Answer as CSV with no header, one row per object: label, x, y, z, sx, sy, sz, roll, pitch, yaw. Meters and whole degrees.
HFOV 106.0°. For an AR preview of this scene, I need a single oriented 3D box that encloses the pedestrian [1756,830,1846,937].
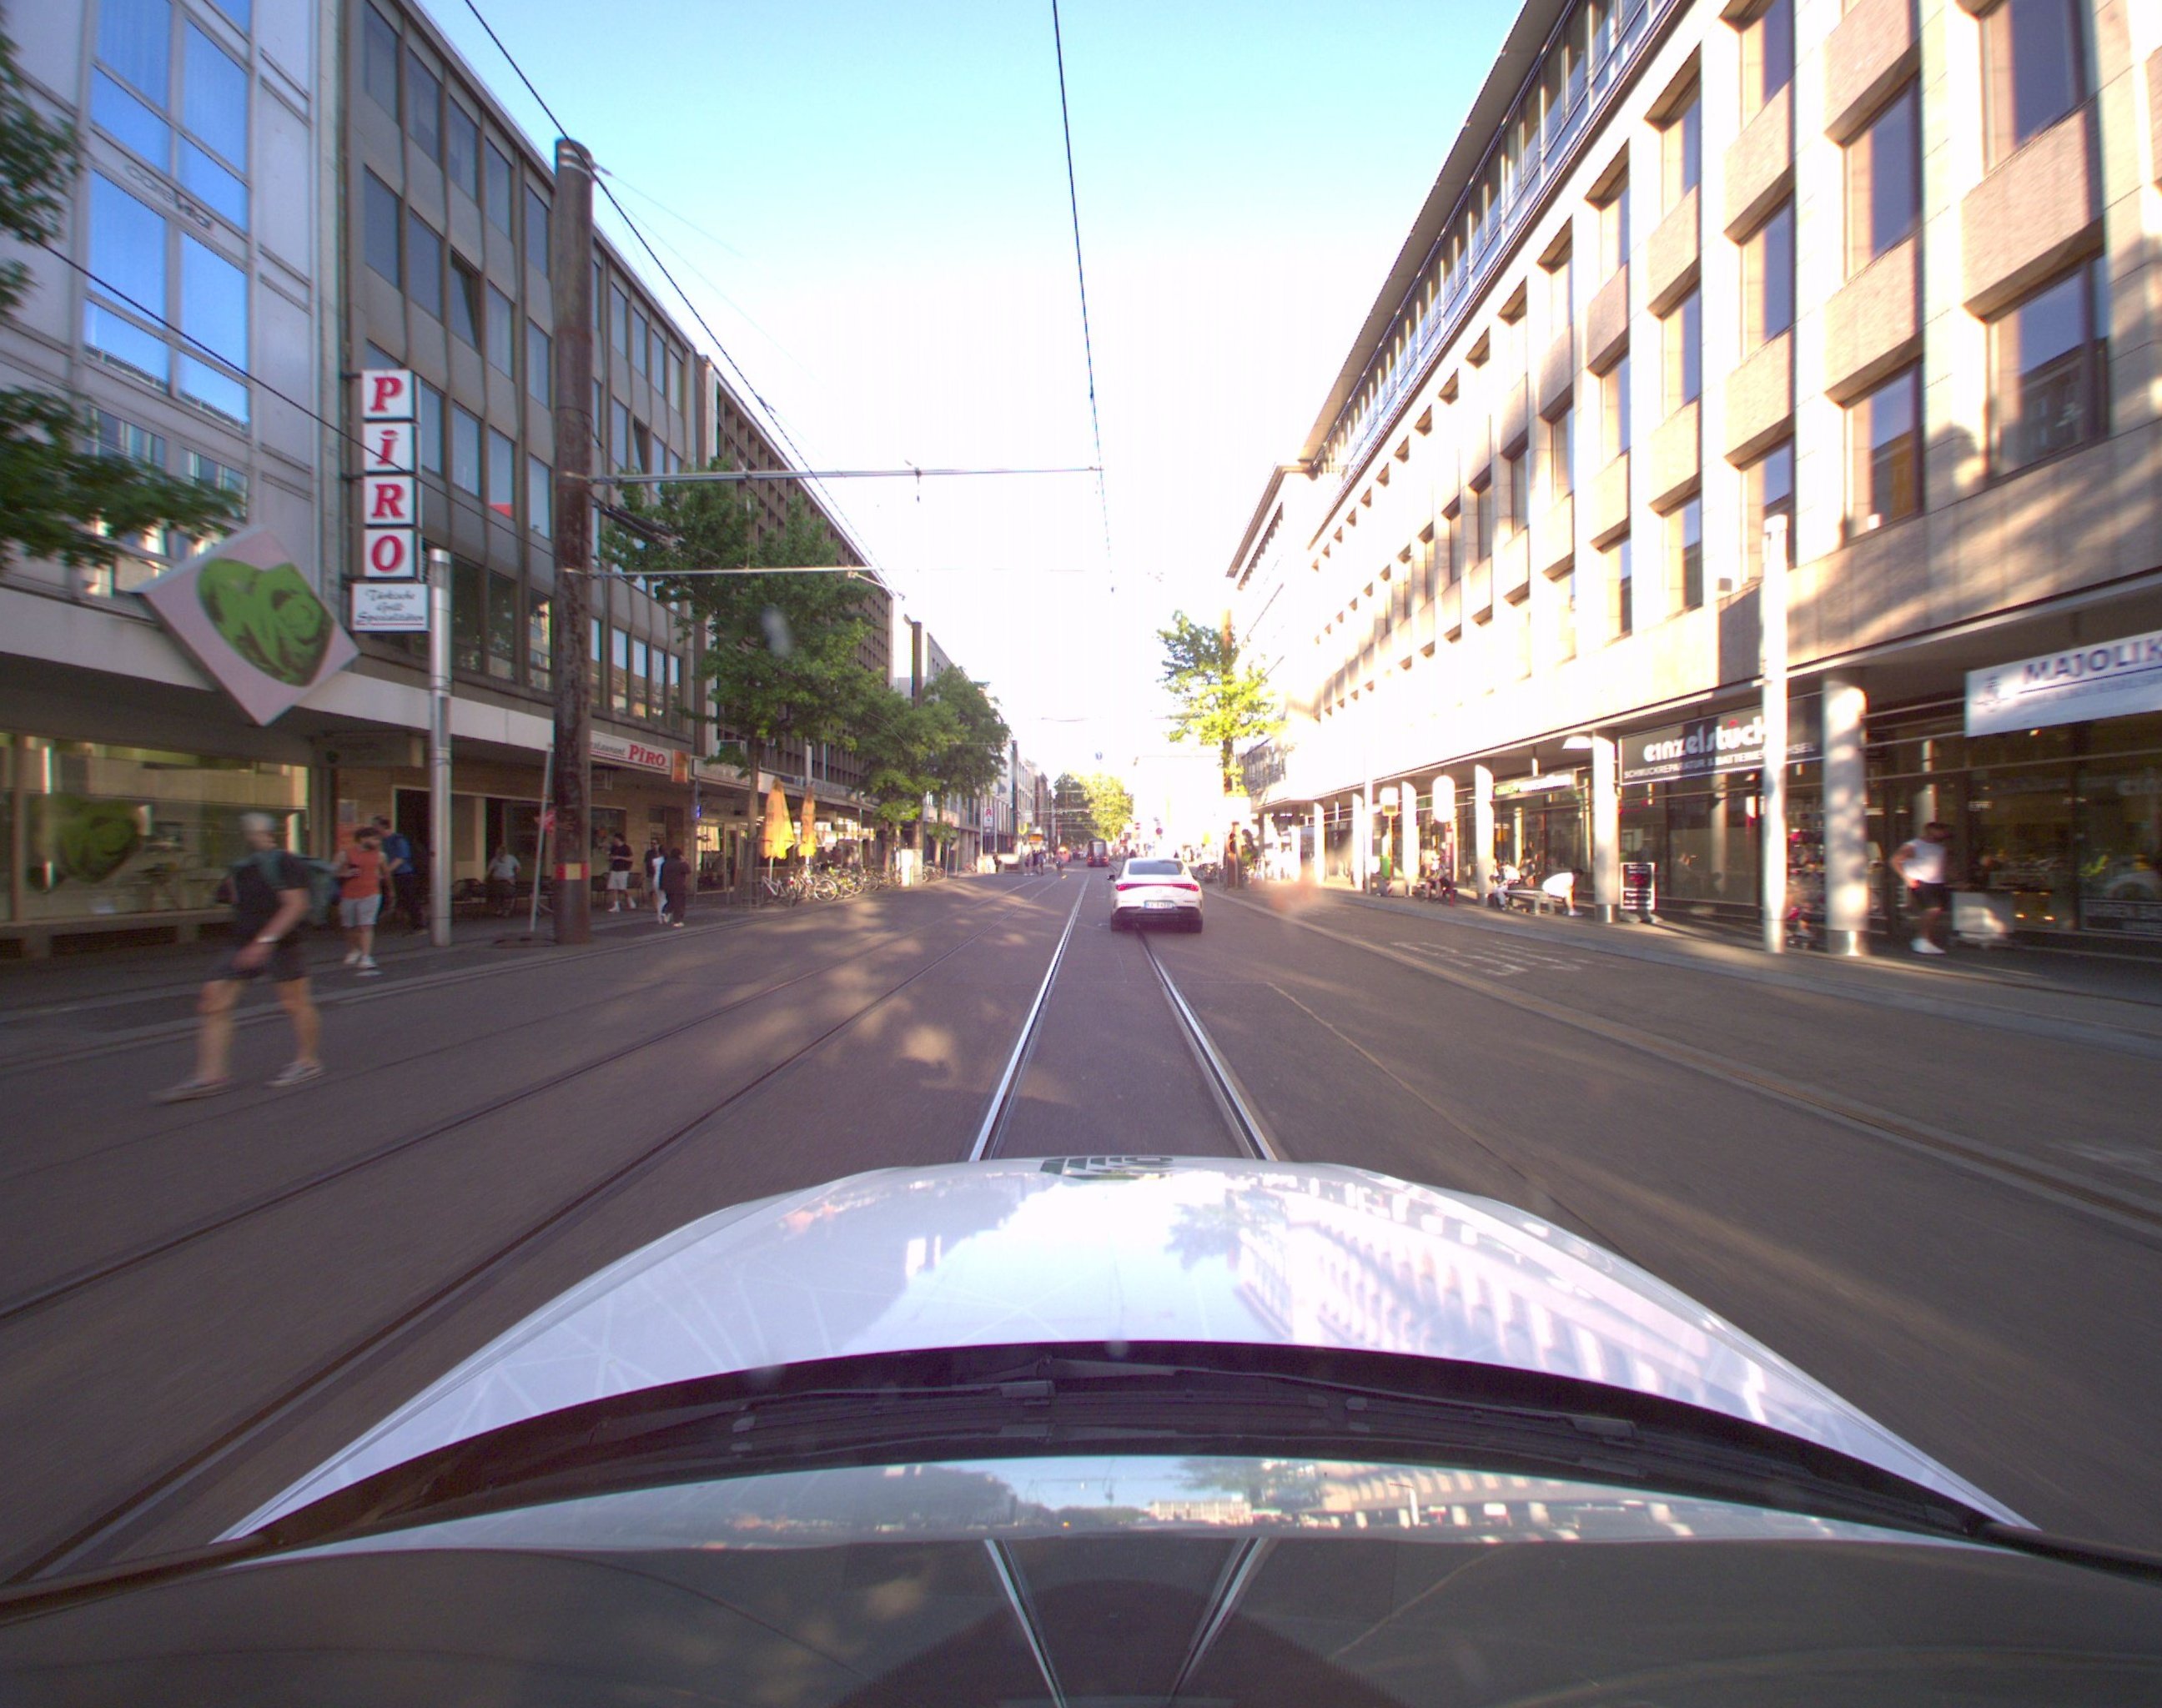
pedestrian,11.826,0.469,13.402,0.741,1.700,0.858,0,0,1

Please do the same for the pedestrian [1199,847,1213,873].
pedestrian,8.733,0.425,56.871,0.746,1.785,0.767,-2,0,0

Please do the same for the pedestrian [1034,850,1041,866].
pedestrian,-4.173,0.401,78.704,0.613,1.545,0.650,-1,0,-1

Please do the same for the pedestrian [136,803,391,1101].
pedestrian,-5.344,0.598,5.384,0.838,1.801,0.791,1,0,2

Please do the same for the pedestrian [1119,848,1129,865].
pedestrian,4.634,0.255,87.931,0.957,1.785,0.804,-2,0,0

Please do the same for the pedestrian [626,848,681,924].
pedestrian,-8.691,0.634,16.587,0.620,1.509,0.833,2,0,1

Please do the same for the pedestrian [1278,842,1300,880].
pedestrian,10.440,0.344,40.922,0.699,1.812,1.033,-4,0,1

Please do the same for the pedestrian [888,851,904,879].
pedestrian,-11.747,0.717,51.651,0.728,1.761,0.810,-1,0,-34

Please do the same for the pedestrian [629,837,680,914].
pedestrian,-9.962,0.492,19.041,0.620,1.747,0.934,2,0,2

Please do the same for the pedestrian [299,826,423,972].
pedestrian,-9.077,0.535,10.288,0.842,1.741,0.839,1,0,21

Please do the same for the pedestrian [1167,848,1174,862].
pedestrian,11.256,0.161,102.528,0.724,1.785,0.707,0,0,0

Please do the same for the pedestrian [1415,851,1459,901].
pedestrian,9.980,0.592,22.865,0.836,1.377,0.772,0,0,-22

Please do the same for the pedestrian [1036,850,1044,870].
pedestrian,-3.667,0.516,72.838,0.544,1.760,0.524,-1,0,29

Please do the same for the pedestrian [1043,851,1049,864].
pedestrian,-4.283,0.412,100.519,0.658,1.599,0.573,-1,0,0

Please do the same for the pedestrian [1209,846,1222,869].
pedestrian,10.585,0.277,63.961,0.838,1.785,0.804,-2,0,0

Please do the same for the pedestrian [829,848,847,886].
pedestrian,-11.444,0.596,38.295,0.717,1.766,0.679,-1,0,-23

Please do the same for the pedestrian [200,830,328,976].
pedestrian,-9.704,0.552,9.691,0.841,1.638,0.766,1,0,21

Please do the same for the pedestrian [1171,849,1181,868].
pedestrian,8.411,0.354,71.929,0.834,1.662,0.786,-1,0,3

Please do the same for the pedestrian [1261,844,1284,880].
pedestrian,9.724,0.409,41.330,0.897,1.744,0.689,-4,0,0

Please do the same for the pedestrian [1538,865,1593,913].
pedestrian,10.660,0.757,17.946,0.832,1.031,0.697,0,0,6

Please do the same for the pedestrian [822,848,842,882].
pedestrian,-11.347,0.497,37.068,0.713,1.547,0.683,-1,0,-5

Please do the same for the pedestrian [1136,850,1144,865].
pedestrian,7.213,0.484,99.521,0.957,1.785,0.804,-2,0,0

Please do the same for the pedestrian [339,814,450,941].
pedestrian,-10.890,0.357,12.966,0.798,1.923,1.070,2,0,-2

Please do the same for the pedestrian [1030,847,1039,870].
pedestrian,-3.912,0.405,68.598,0.534,1.929,0.576,-1,0,45

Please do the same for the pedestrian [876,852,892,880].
pedestrian,-12.591,0.770,52.164,0.813,1.761,0.779,-1,0,-1

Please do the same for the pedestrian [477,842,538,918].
pedestrian,-11.866,0.520,16.868,0.620,1.526,0.810,2,0,1

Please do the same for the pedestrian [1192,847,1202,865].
pedestrian,11.289,0.192,79.473,0.815,1.685,0.804,-2,0,0

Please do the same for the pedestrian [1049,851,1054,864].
pedestrian,-3.628,0.410,100.588,0.658,1.599,0.573,-1,0,0

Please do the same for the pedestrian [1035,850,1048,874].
pedestrian,-2.931,0.595,60.442,0.901,1.698,0.849,-1,0,1

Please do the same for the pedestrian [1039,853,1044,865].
pedestrian,-5.236,0.693,108.934,0.658,1.599,0.573,-1,0,0

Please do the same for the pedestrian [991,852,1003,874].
pedestrian,-6.675,0.737,64.805,0.835,1.717,0.785,-1,0,-1

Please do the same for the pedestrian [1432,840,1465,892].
pedestrian,12.337,0.400,27.361,0.713,1.741,0.835,0,0,1

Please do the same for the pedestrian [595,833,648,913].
pedestrian,-10.756,0.428,19.091,0.620,1.804,0.934,2,0,2

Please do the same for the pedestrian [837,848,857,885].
pedestrian,-10.628,0.562,37.039,0.713,1.639,0.683,-1,0,-5

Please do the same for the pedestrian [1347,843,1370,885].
pedestrian,11.061,0.392,32.484,0.634,1.653,0.781,0,0,2

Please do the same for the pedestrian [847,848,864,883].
pedestrian,-11.514,0.568,41.582,0.789,1.766,0.533,-1,0,-24

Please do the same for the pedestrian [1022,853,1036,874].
pedestrian,-3.814,0.699,59.568,0.952,1.496,0.944,-1,0,1

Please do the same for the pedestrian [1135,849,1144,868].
pedestrian,5.347,0.378,74.302,0.744,1.698,0.840,-1,0,-2

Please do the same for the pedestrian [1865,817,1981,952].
pedestrian,11.637,0.406,11.286,0.741,1.793,0.858,0,0,1

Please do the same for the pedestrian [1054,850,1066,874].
pedestrian,-1.563,0.610,60.540,0.797,1.782,0.849,1,0,0

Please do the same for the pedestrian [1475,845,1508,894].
pedestrian,13.011,0.475,25.840,0.640,1.541,0.796,0,0,1

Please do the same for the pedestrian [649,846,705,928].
pedestrian,-7.983,0.637,16.124,0.620,1.550,0.852,2,0,1
